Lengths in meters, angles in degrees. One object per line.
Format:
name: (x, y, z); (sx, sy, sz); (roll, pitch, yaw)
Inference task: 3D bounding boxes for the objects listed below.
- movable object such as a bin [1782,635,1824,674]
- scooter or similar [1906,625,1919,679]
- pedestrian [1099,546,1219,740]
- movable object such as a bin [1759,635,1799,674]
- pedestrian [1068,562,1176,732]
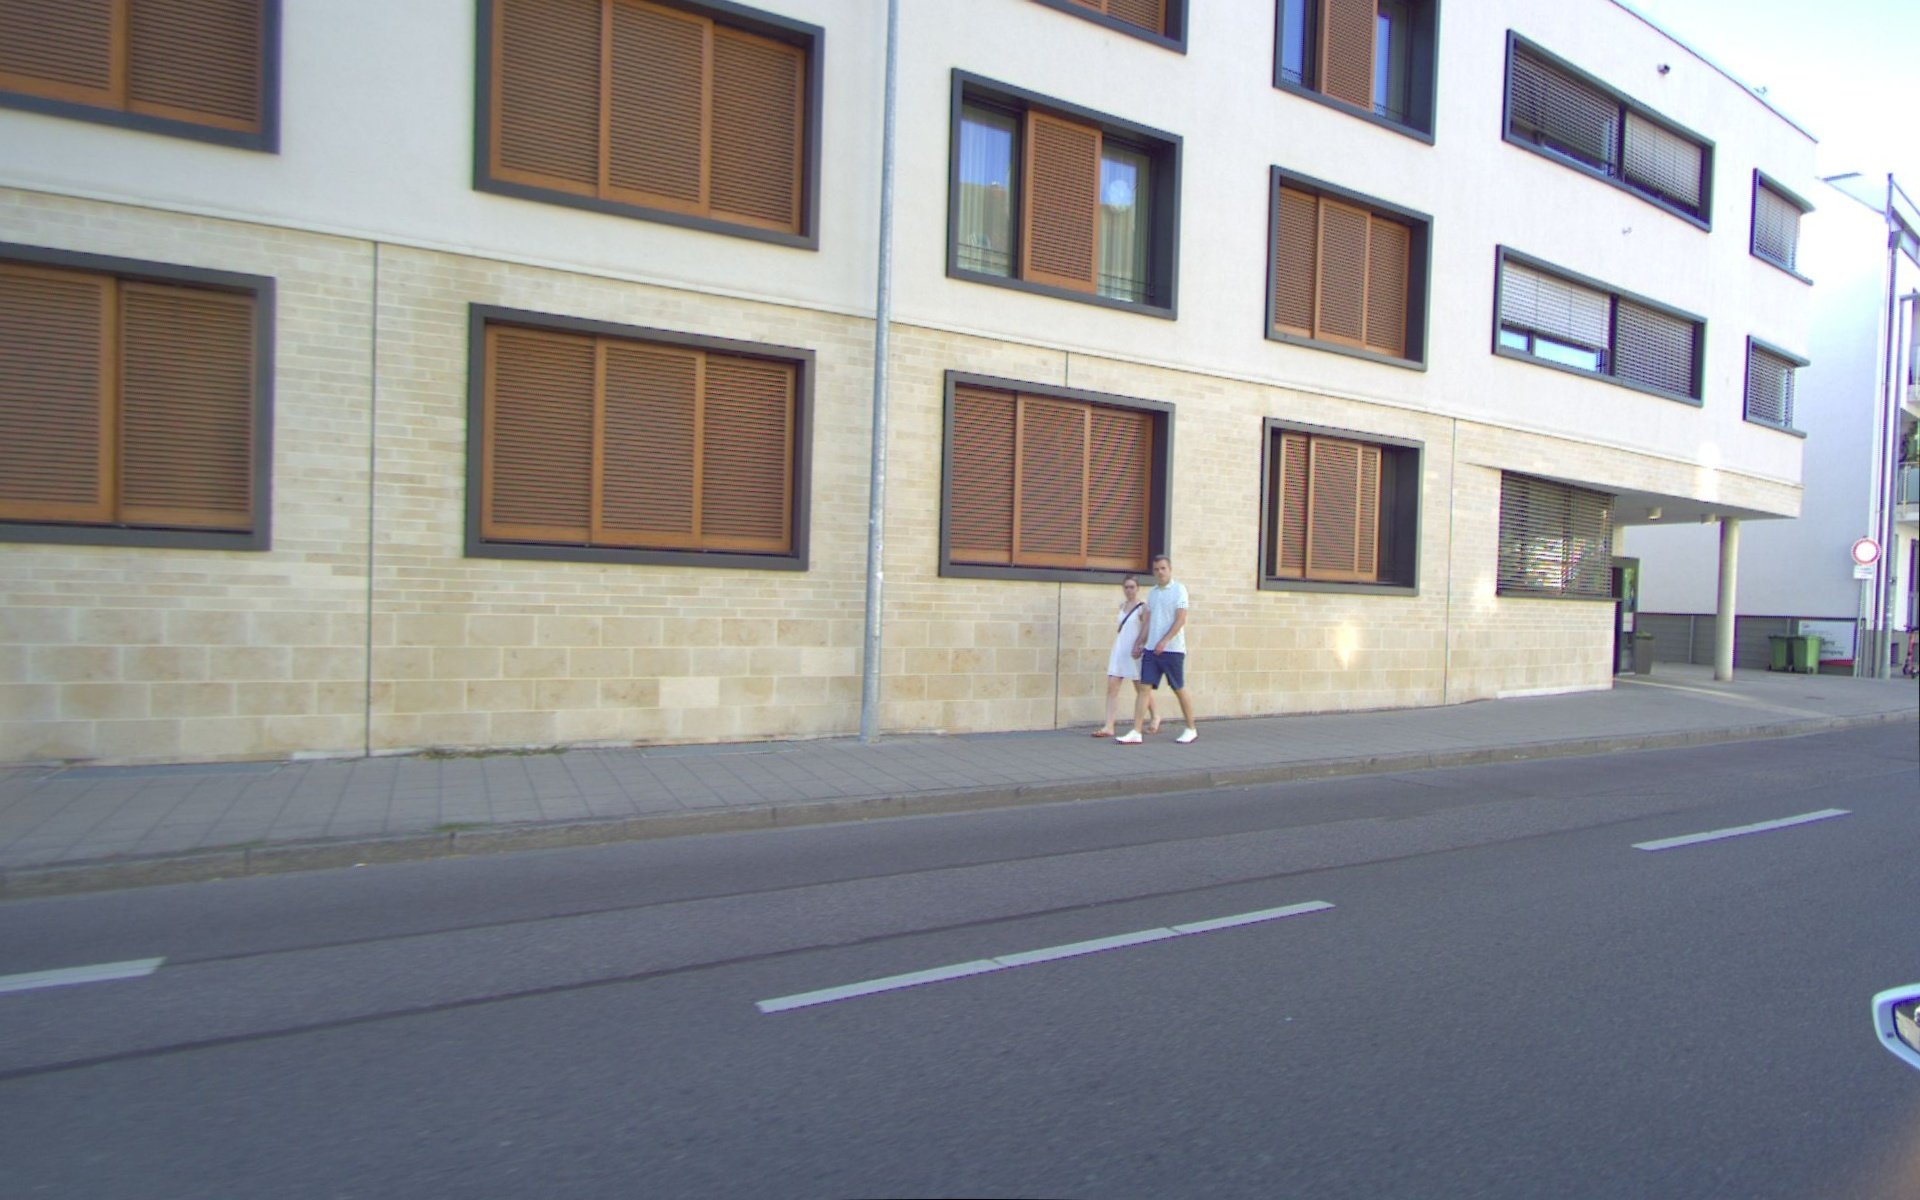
movable object such as a bin: (20.470, 1.323, 24.395); (0.521, 0.913, 0.548); (2, 1, -14)
scooter or similar: (23.010, 1.241, 24.164); (0.222, 1.236, 1.150); (3, 2, 39)
pedestrian: (2.018, 0.421, 10.206); (0.981, 1.873, 0.602); (2, 1, -30)
movable object such as a bin: (20.344, 1.349, 24.951); (0.521, 0.913, 0.548); (2, 1, -14)
pedestrian: (1.734, 0.484, 10.774); (0.833, 1.737, 0.699); (2, 1, -30)
